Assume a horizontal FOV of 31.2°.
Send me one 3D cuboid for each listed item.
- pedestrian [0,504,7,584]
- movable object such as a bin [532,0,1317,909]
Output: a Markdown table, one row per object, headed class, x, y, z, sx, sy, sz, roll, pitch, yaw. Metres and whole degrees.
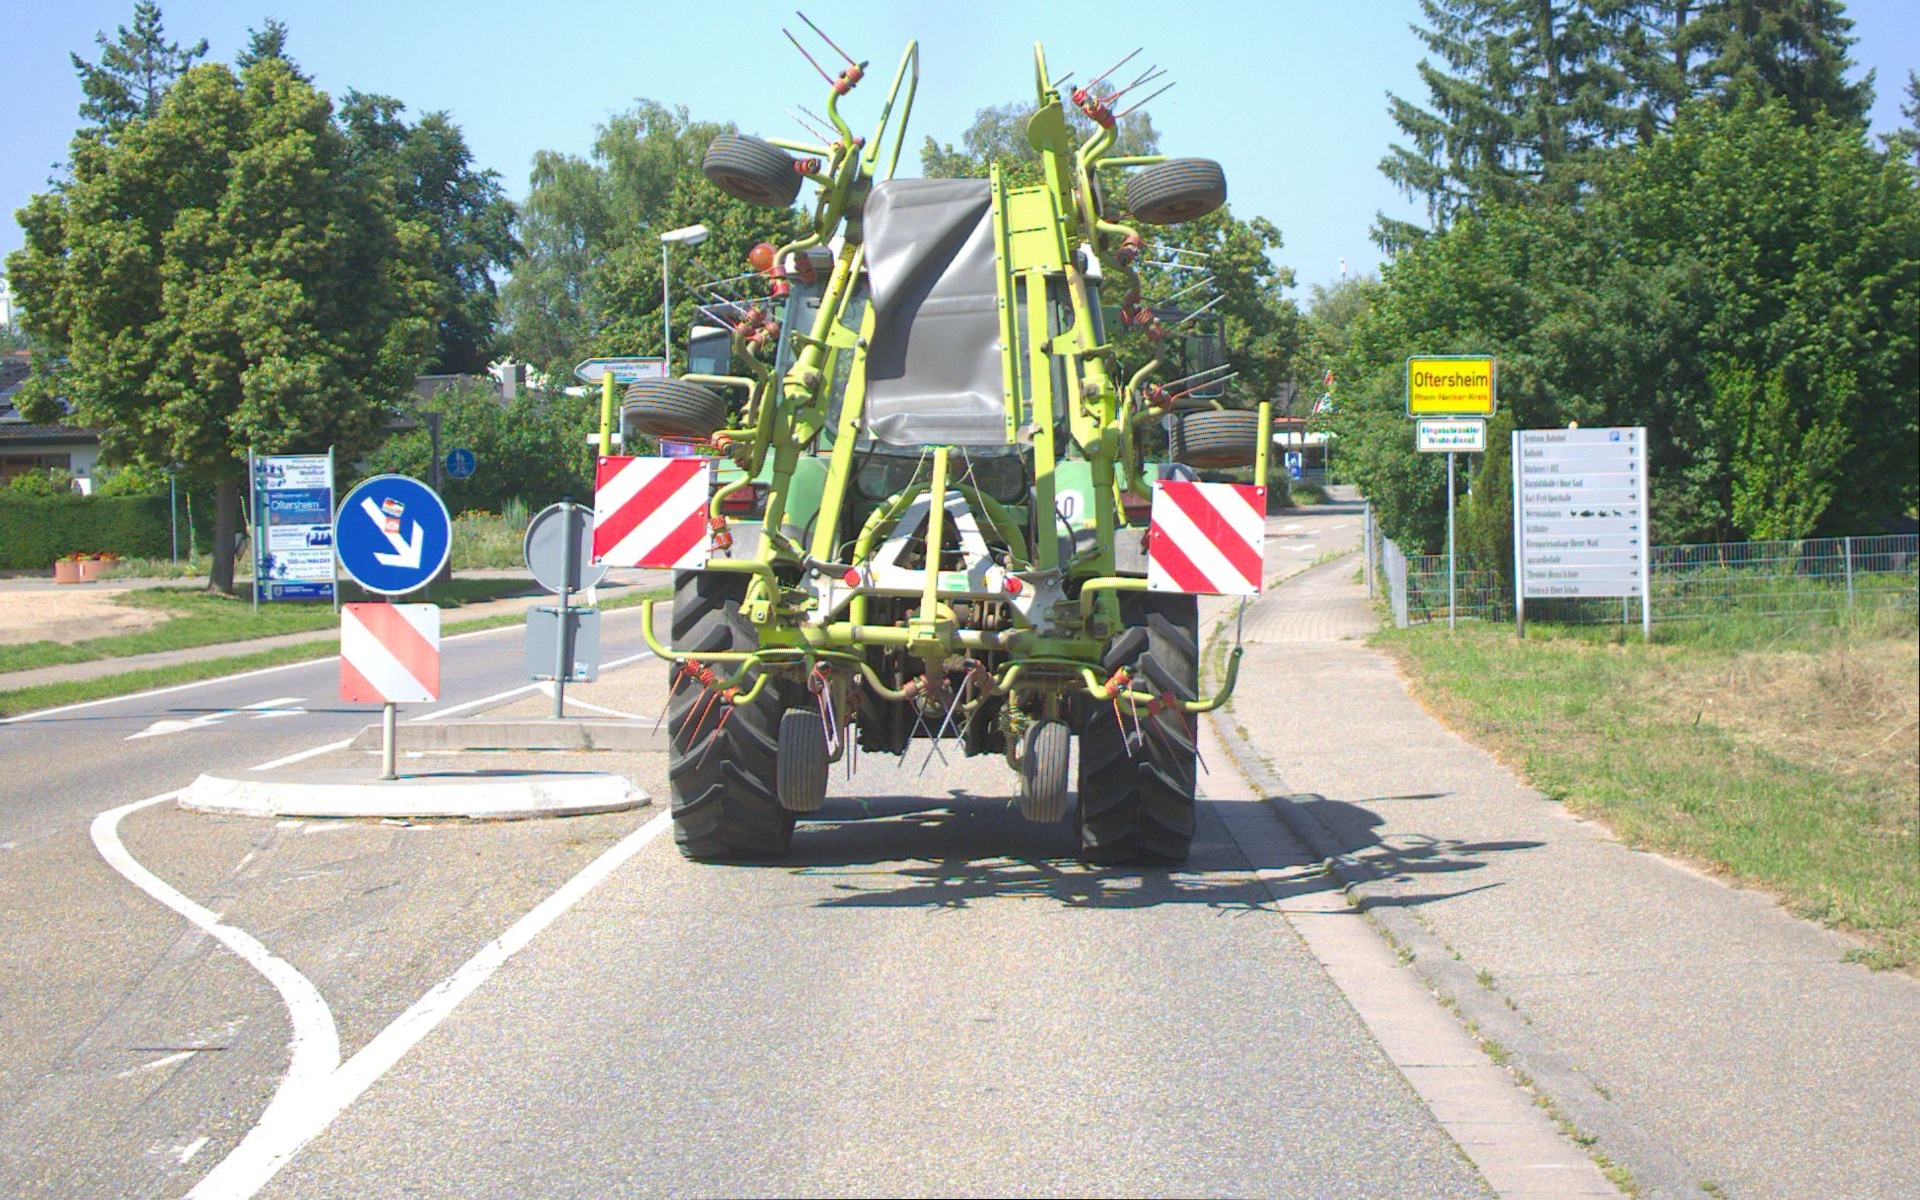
| class | x | y | z | sx | sy | sz | roll | pitch | yaw |
| --- | --- | --- | --- | --- | --- | --- | --- | --- | --- |
| pedestrian | -20.812 | -1.208 | 73.765 | 0.674 | 1.711 | 0.551 | 0 | 1 | -11 |
| movable object such as a bin | -0.163 | -0.722 | 17.408 | 2.853 | 3.529 | 9.701 | 0 | 1 | 0 |
